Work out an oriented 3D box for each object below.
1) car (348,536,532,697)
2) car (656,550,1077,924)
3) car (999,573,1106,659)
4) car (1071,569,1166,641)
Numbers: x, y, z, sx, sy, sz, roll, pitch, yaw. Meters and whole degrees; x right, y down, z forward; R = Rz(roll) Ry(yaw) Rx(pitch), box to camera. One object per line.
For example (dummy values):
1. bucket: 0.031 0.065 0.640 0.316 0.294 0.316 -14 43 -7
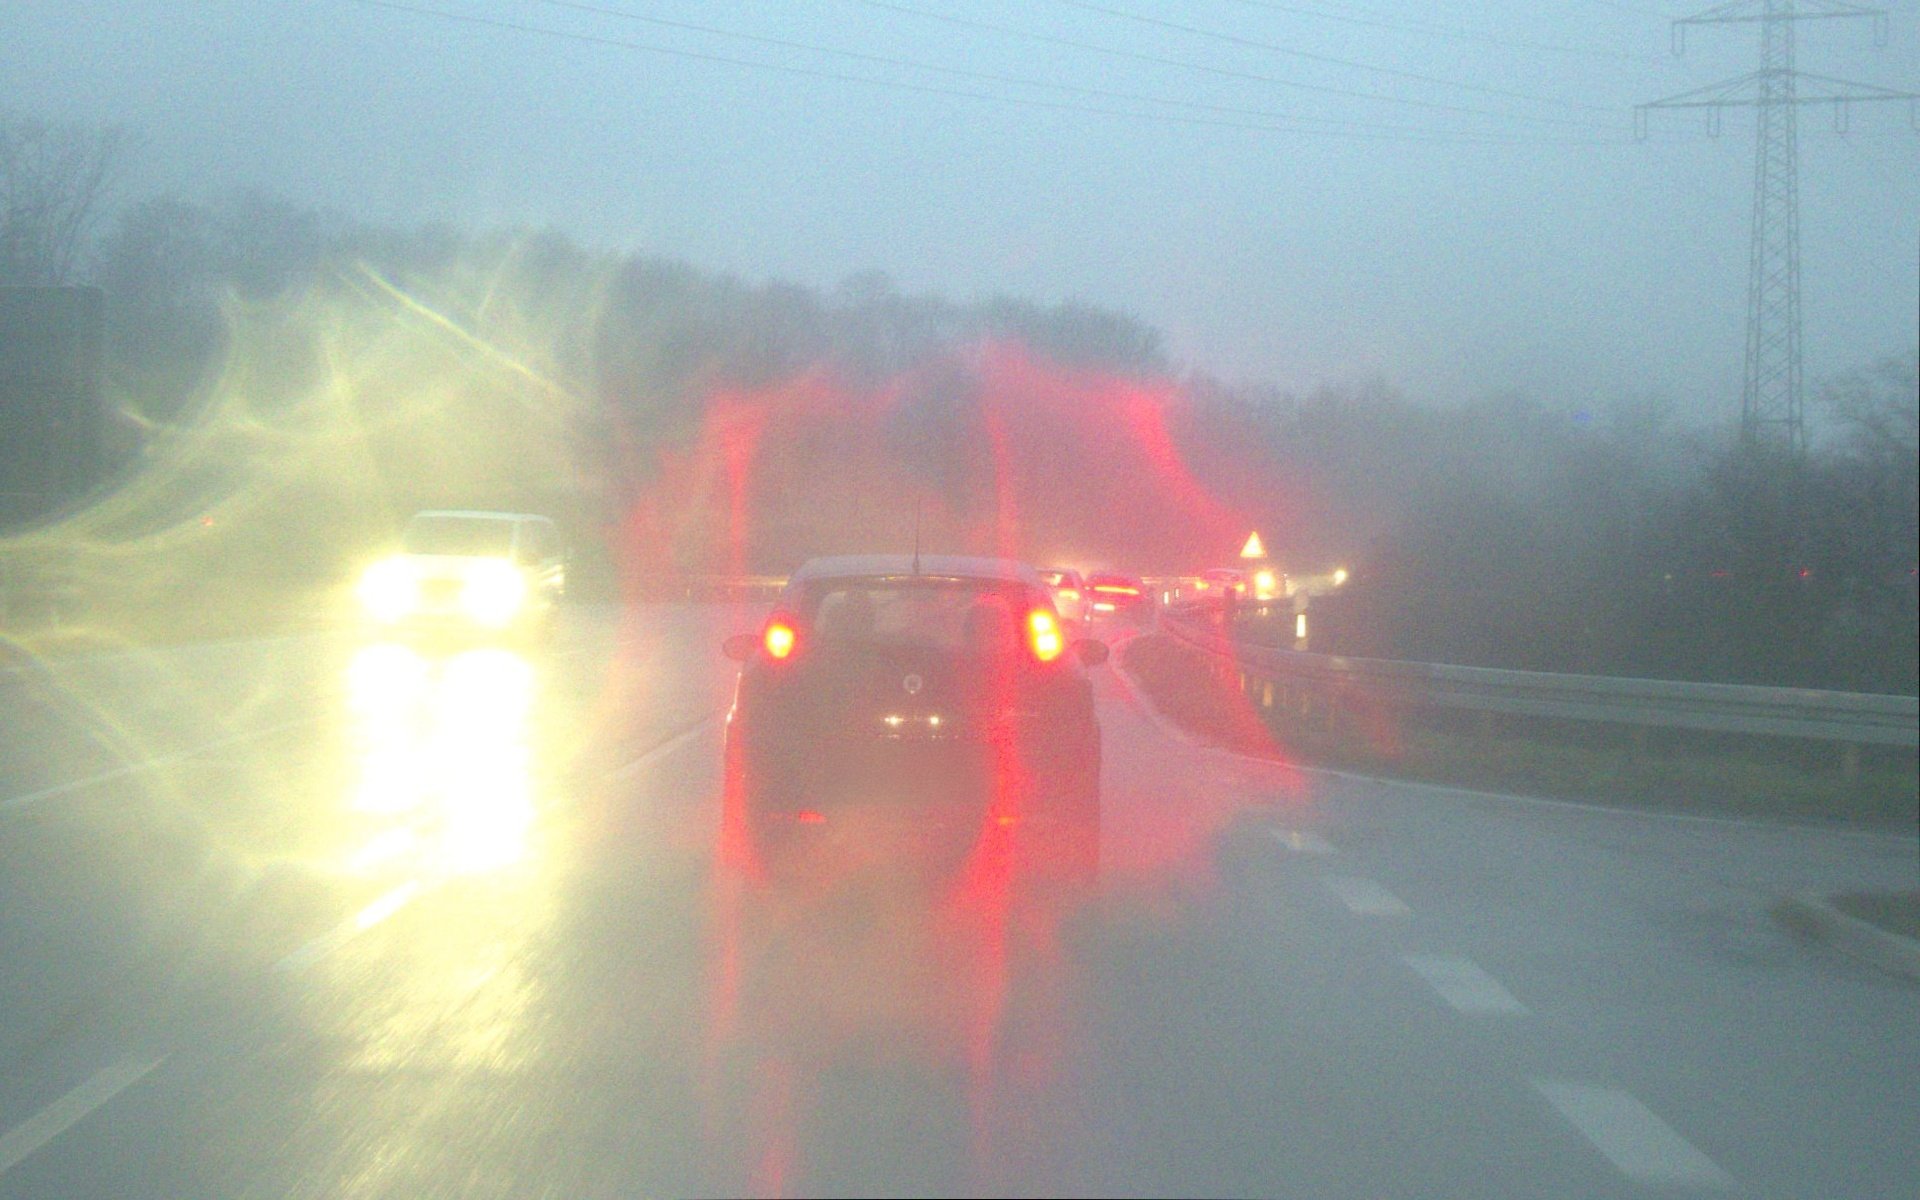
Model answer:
1. car: -7.313 0.175 48.804 1.871 2.130 5.180 -1 1 -1
2. car: -0.395 0.545 16.424 1.730 1.527 4.042 -1 1 0
3. car: 2.045 0.316 74.899 1.946 1.739 3.999 2 1 6
4. car: 4.294 0.118 92.677 1.947 1.738 3.998 5 1 9
